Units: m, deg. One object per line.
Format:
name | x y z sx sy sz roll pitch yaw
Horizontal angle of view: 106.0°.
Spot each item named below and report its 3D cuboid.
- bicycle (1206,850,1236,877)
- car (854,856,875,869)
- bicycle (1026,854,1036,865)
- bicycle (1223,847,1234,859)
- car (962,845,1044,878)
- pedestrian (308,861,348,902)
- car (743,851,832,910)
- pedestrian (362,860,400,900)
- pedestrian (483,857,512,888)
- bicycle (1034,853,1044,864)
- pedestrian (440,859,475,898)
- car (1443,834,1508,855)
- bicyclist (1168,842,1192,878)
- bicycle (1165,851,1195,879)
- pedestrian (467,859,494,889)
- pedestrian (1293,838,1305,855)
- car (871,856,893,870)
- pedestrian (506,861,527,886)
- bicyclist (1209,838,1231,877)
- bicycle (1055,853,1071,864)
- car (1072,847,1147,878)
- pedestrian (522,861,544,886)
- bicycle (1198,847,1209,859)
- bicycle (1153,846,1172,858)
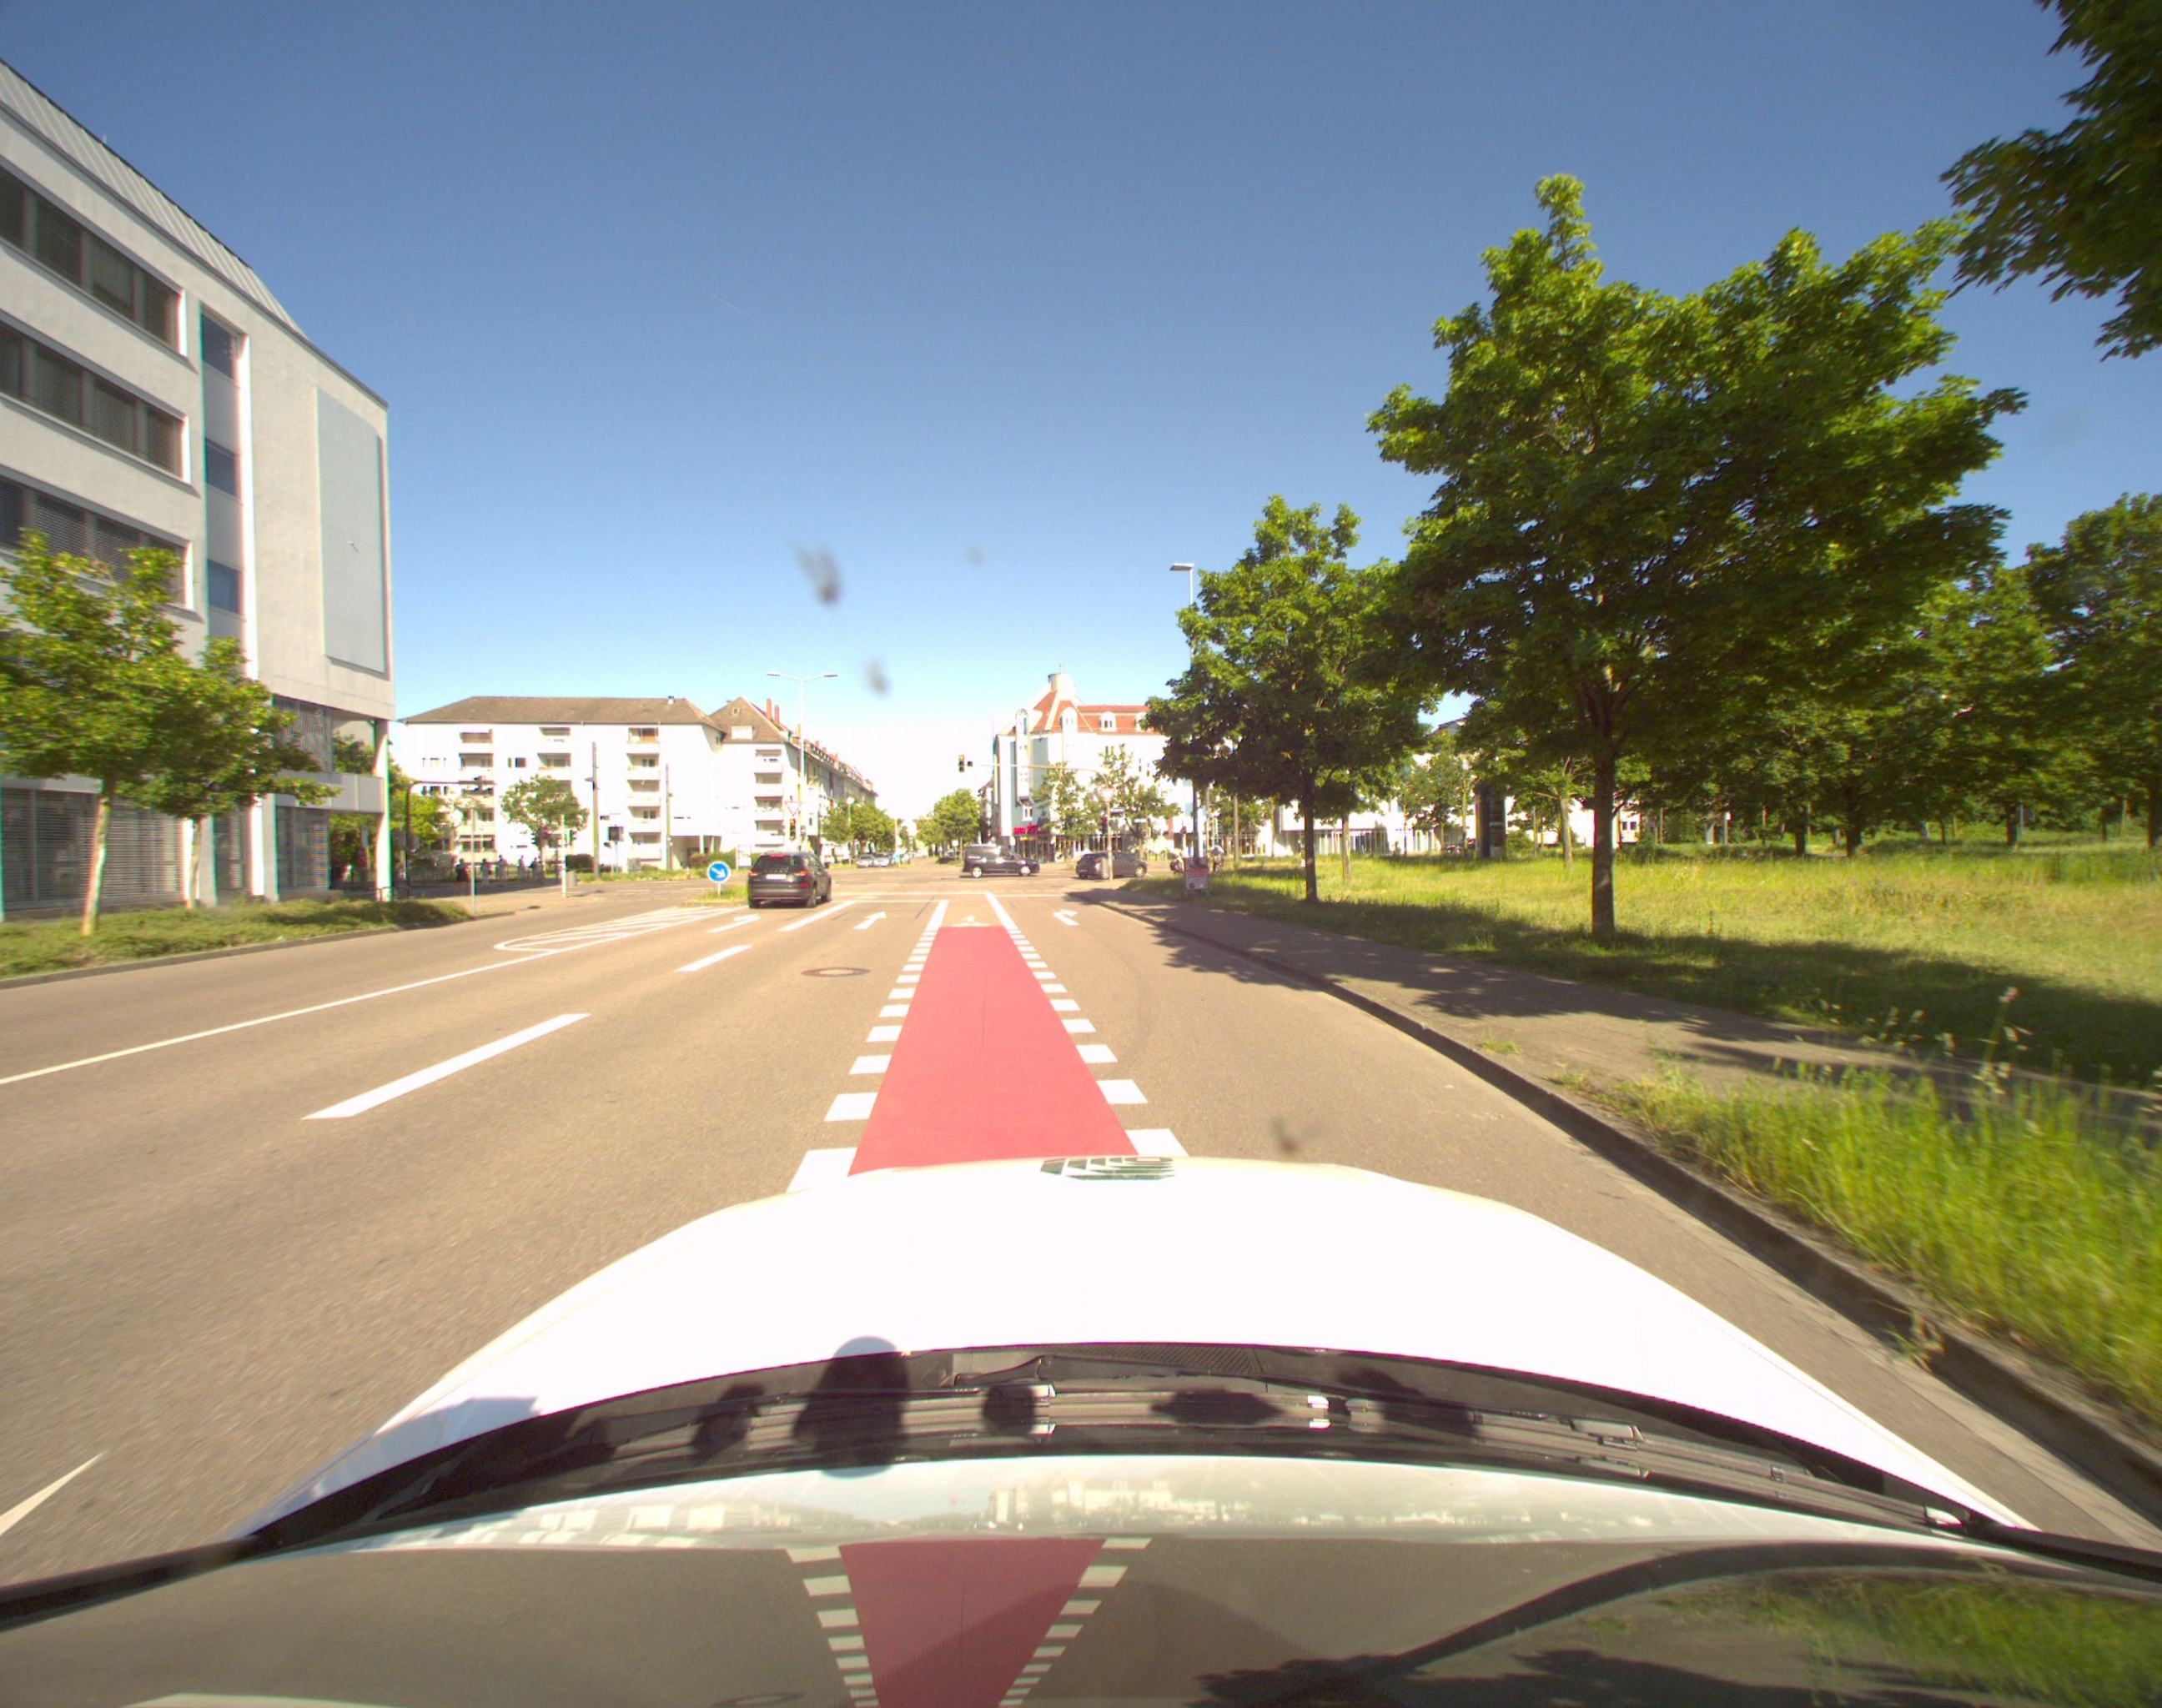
bicycle | 7.326 0.497 42.469 0.783 1.348 2.277 -2 0 29
car | -24.441 0.913 92.104 1.686 1.432 4.390 1 0 -6
bicycle | -4.724 0.496 77.132 0.473 1.027 1.506 -2 0 -19
bicycle | 15.922 -0.110 88.033 0.560 1.182 1.865 -2 0 -7
car | -4.514 0.439 46.841 4.486 1.800 1.757 1 -1 -12
pedestrian | -33.163 1.189 35.879 0.811 1.726 1.149 -2 0 -14
car | -8.765 0.745 24.697 1.754 1.628 4.463 1 0 -10
pedestrian | -30.791 1.124 35.839 0.811 1.726 1.149 -2 0 -14
pedestrian | -33.750 1.057 47.116 0.922 1.770 1.149 -2 0 -14
bicycle | -4.038 0.407 77.767 0.473 1.027 1.505 -2 0 -21
pedestrian | -28.137 1.100 36.773 0.811 1.726 1.149 -2 0 -14
car | 32.748 -0.792 67.675 4.486 1.609 2.000 -1 0 0
bicyclist | 5.164 0.321 42.417 0.783 1.824 1.142 -2 0 29
bicycle | 5.186 0.560 42.448 0.783 1.348 2.092 -2 0 29
pedestrian | -35.237 1.164 47.793 0.811 1.726 1.149 -2 0 -14
pedestrian | 23.560 -0.809 88.065 0.990 1.723 0.652 -2 0 -10
car | -21.752 0.944 89.241 1.686 1.432 4.390 1 0 -6
pedestrian | -39.339 1.347 56.735 1.139 1.726 0.818 -1 0 33
bicyclist | 7.216 0.177 42.286 0.783 1.959 1.017 -2 0 29
bicycle | -1.750 0.463 79.890 1.505 1.027 0.473 -2 0 1
car | 1.541 0.447 43.064 3.891 1.578 1.674 1 -1 -41
pedestrian | -38.696 1.350 57.507 1.139 1.726 0.818 -1 0 33
bicycle | 13.227 -0.108 87.709 0.560 1.182 1.863 -2 0 -10
bicycle | 8.578 -0.197 85.777 1.866 1.182 0.559 -2 0 -13
